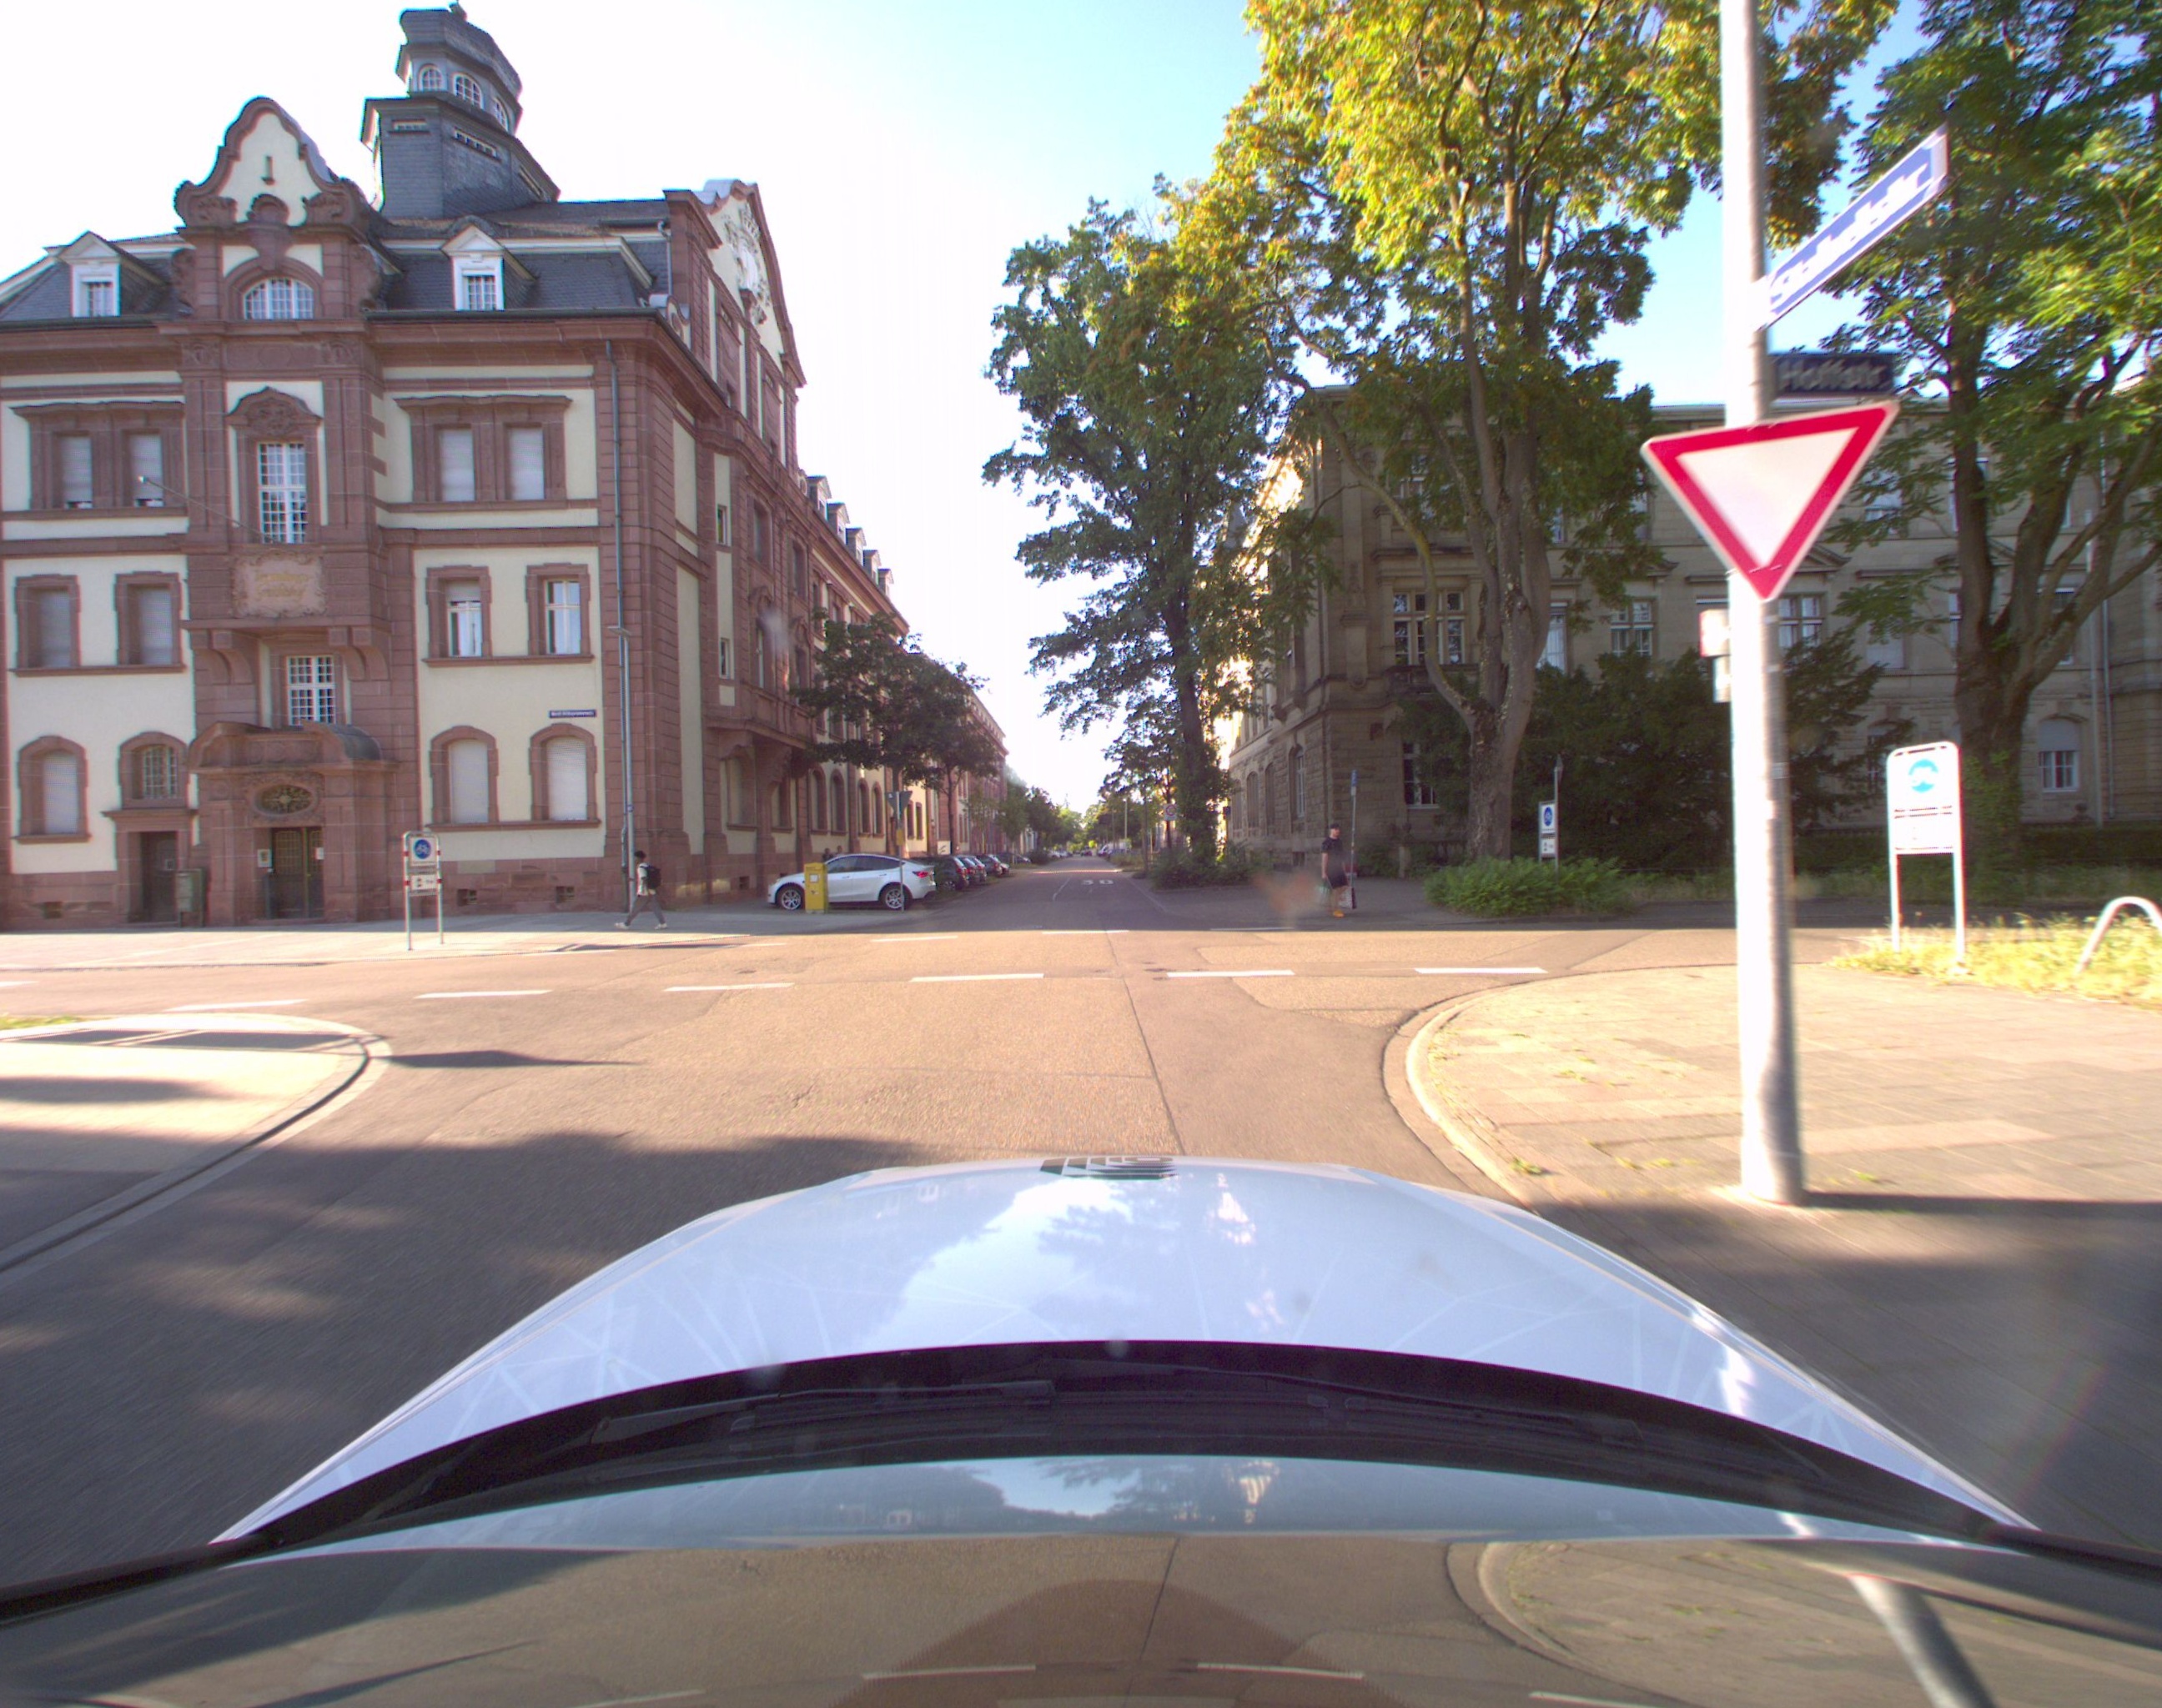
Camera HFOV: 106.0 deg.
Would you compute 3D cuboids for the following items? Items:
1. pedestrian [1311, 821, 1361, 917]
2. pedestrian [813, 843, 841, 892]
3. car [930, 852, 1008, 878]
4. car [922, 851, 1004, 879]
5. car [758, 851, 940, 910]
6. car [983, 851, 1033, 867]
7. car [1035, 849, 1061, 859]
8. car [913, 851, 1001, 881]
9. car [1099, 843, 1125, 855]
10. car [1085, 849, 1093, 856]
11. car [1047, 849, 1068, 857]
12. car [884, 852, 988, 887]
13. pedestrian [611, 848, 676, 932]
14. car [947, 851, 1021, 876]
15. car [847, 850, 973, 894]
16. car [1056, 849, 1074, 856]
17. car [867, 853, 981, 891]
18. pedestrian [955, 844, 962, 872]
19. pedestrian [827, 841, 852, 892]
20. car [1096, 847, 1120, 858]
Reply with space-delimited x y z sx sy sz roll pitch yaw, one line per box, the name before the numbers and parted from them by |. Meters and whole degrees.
pedestrian | 5.248 0.303 16.794 0.723 1.918 0.609 -1 0 -23
pedestrian | -9.645 0.519 30.927 0.784 1.840 0.717 0 0 3
car | -6.583 0.636 48.213 4.368 1.496 1.965 0 0 -3
car | -6.559 0.609 45.720 4.368 1.496 1.965 0 0 -3
car | -6.594 0.733 23.588 4.695 1.589 1.965 1 0 -3
car | -6.633 0.432 74.650 4.364 1.496 1.967 0 0 0
car | -5.478 -0.012 136.054 4.075 1.494 1.933 -2 0 0
car | -6.510 0.612 43.123 4.368 1.496 1.965 0 0 -3
car | 5.758 -0.886 149.449 4.688 2.103 2.000 -2 0 0
car | 2.052 -0.294 209.649 1.740 1.706 3.670 -2 0 -3
car | -4.862 -0.269 168.524 4.075 1.494 1.933 -2 0 0
car | -6.414 0.669 36.425 4.368 1.496 1.965 0 0 -3
pedestrian | -9.360 0.755 17.450 0.996 1.718 0.534 -1 3 1
car | -5.948 0.593 50.422 4.368 1.496 1.965 0 0 -3
car | -6.365 0.662 30.763 4.368 1.585 1.965 0 0 -3
car | -3.599 -0.387 187.457 4.075 1.494 1.933 -2 0 0
car | -6.404 0.712 33.645 4.368 1.496 1.965 0 0 -3
pedestrian | -8.959 0.275 59.522 0.433 2.013 0.463 -2 0 1
pedestrian | -8.931 0.456 30.126 0.721 1.840 0.613 0 0 3
car | 4.412 -0.289 133.869 3.974 1.618 1.788 -2 0 0
